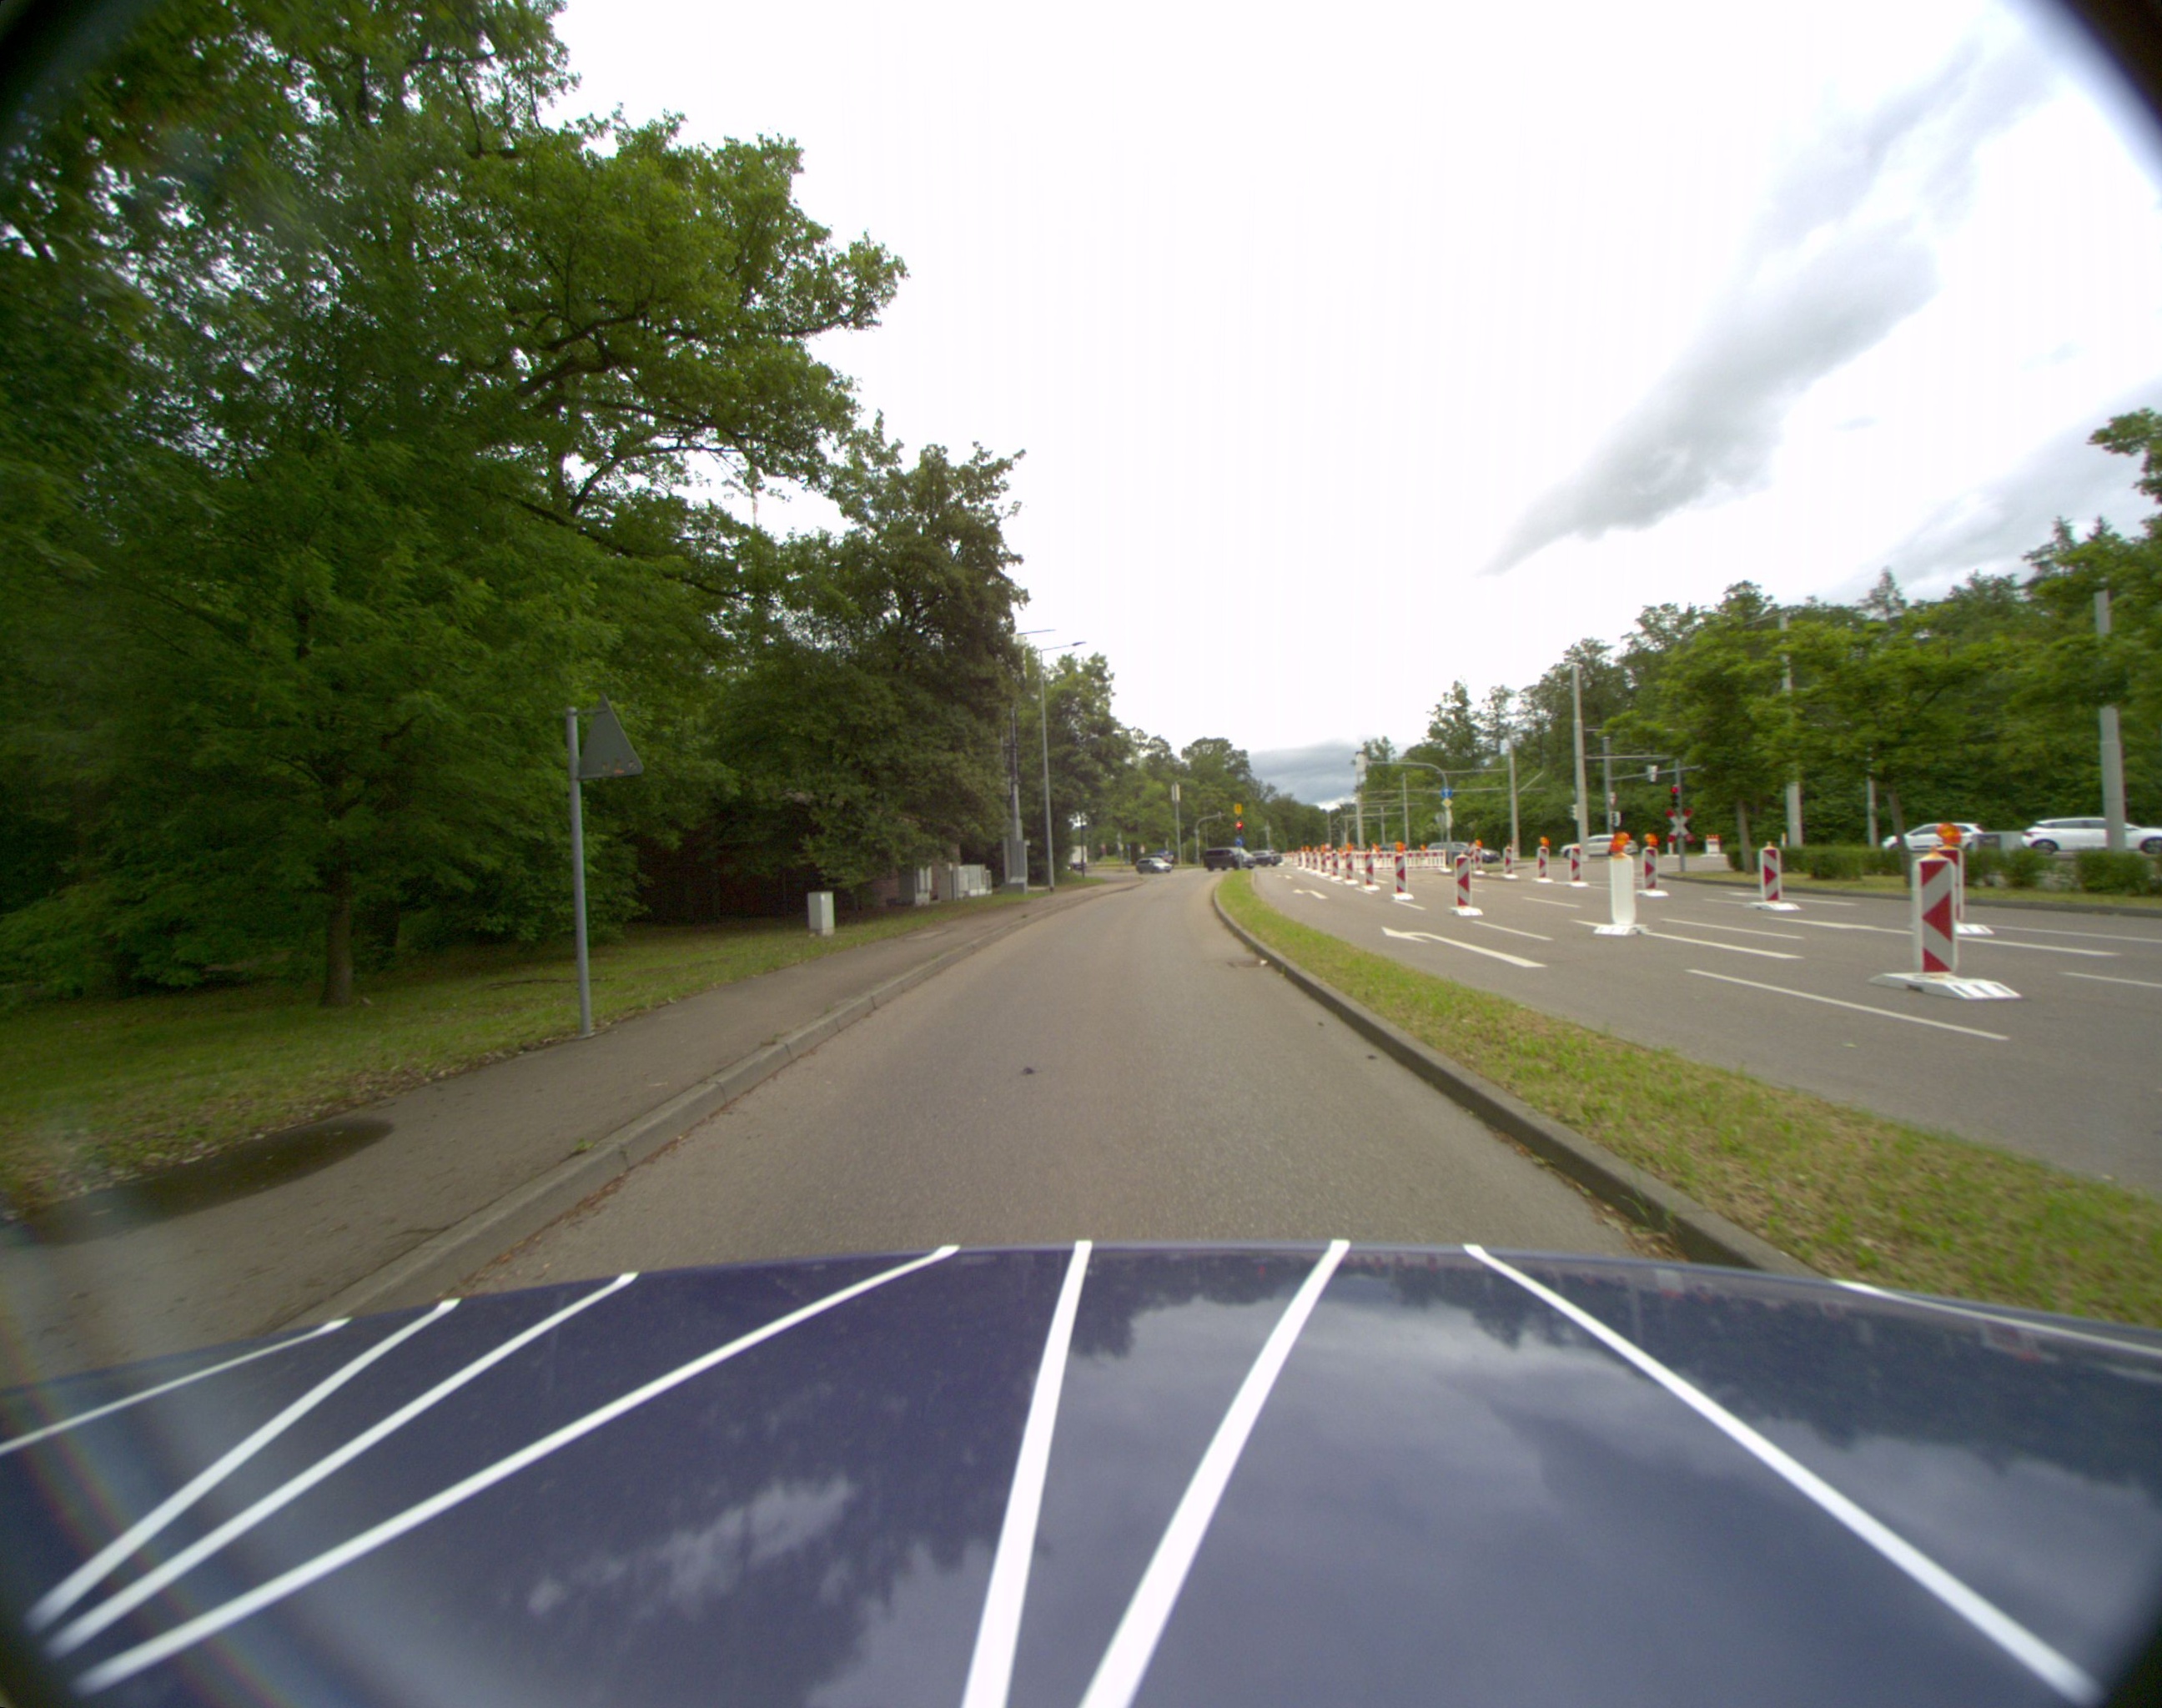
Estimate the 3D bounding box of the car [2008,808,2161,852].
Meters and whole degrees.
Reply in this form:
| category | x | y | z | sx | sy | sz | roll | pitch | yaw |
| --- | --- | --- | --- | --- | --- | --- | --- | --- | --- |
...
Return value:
| category | x | y | z | sx | sy | sz | roll | pitch | yaw |
| --- | --- | --- | --- | --- | --- | --- | --- | --- | --- |
| car | 39.638 | -0.918 | 29.842 | 1.772 | 1.479 | 3.990 | -4 | 1 | -37 |

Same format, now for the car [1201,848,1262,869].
| category | x | y | z | sx | sy | sz | roll | pitch | yaw |
| --- | --- | --- | --- | --- | --- | --- | --- | --- | --- |
| car | 12.812 | 0.386 | 65.031 | 1.961 | 1.578 | 4.897 | -4 | 1 | -40 |

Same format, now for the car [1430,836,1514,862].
| category | x | y | z | sx | sy | sz | roll | pitch | yaw |
| --- | --- | --- | --- | --- | --- | --- | --- | --- | --- |
| car | 24.888 | -0.314 | 48.518 | 1.799 | 1.428 | 4.379 | -4 | 1 | -38 |

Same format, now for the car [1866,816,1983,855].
| category | x | y | z | sx | sy | sz | roll | pitch | yaw |
| --- | --- | --- | --- | --- | --- | --- | --- | --- | --- |
| car | 42.788 | -0.914 | 38.604 | 1.862 | 1.712 | 3.783 | -4 | 1 | -37 |

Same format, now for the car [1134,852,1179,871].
| category | x | y | z | sx | sy | sz | roll | pitch | yaw |
| --- | --- | --- | --- | --- | --- | --- | --- | --- | --- |
| car | 7.190 | 0.740 | 72.519 | 1.901 | 1.631 | 3.973 | -4 | 1 | -42 |

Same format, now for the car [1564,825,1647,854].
| category | x | y | z | sx | sy | sz | roll | pitch | yaw |
| --- | --- | --- | --- | --- | --- | --- | --- | --- | --- |
| car | 34.315 | -0.941 | 49.764 | 1.862 | 1.642 | 4.038 | -4 | 1 | -39 |

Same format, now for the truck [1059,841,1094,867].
| category | x | y | z | sx | sy | sz | roll | pitch | yaw |
| --- | --- | --- | --- | --- | --- | --- | --- | --- | --- |
| truck | -0.642 | 0.037 | 100.903 | 2.749 | 3.192 | 6.664 | -4 | 0 | -16 |

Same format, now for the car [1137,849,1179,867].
| category | x | y | z | sx | sy | sz | roll | pitch | yaw |
| --- | --- | --- | --- | --- | --- | --- | --- | --- | --- |
| car | 8.435 | 0.460 | 83.381 | 2.003 | 1.718 | 4.462 | -4 | 1 | -35 |

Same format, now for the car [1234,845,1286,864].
| category | x | y | z | sx | sy | sz | roll | pitch | yaw |
| --- | --- | --- | --- | --- | --- | --- | --- | --- | --- |
| car | 16.847 | 0.058 | 71.652 | 1.884 | 1.586 | 4.439 | -4 | 1 | -43 |
